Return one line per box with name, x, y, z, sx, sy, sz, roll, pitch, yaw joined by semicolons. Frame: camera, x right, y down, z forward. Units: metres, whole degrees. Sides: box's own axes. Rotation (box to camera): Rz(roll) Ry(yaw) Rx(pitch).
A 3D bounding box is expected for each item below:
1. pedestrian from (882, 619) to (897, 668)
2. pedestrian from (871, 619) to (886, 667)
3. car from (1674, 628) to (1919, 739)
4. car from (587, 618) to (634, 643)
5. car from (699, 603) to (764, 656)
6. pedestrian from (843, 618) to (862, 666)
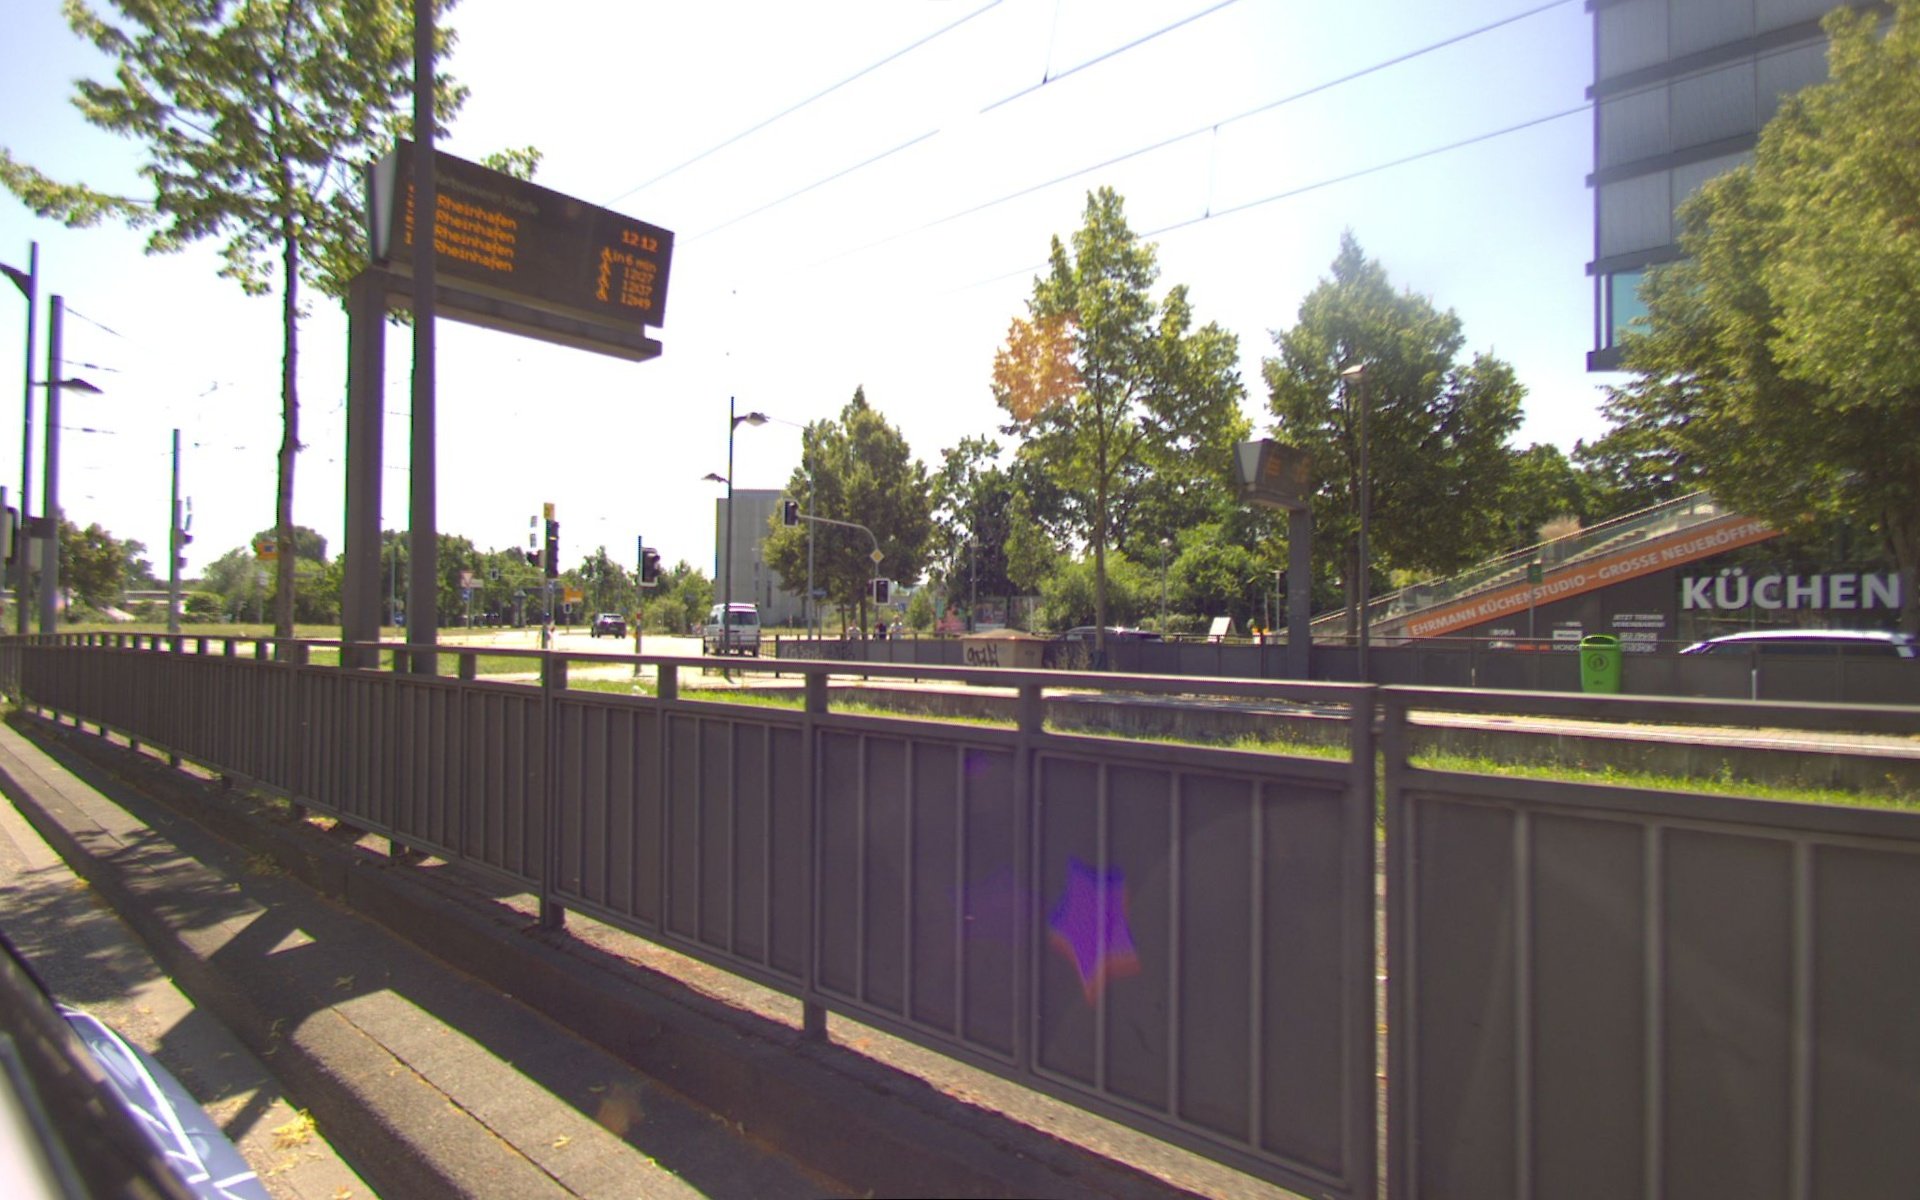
pedestrian;-2.547;1.566;36.792;0.449;1.752;0.287;0;-2;40
pedestrian;-2.986;1.559;37.089;0.449;1.752;0.287;0;-2;40
car;14.223;1.305;16.605;3.961;1.628;1.554;0;-2;42
car;-22.897;1.962;66.119;1.965;1.529;5.855;1;-1;-28
car;-9.868;1.284;43.379;1.965;2.122;5.559;0;-3;-20
pedestrian;-3.943;1.523;37.059;0.600;1.752;0.337;0;-2;40
